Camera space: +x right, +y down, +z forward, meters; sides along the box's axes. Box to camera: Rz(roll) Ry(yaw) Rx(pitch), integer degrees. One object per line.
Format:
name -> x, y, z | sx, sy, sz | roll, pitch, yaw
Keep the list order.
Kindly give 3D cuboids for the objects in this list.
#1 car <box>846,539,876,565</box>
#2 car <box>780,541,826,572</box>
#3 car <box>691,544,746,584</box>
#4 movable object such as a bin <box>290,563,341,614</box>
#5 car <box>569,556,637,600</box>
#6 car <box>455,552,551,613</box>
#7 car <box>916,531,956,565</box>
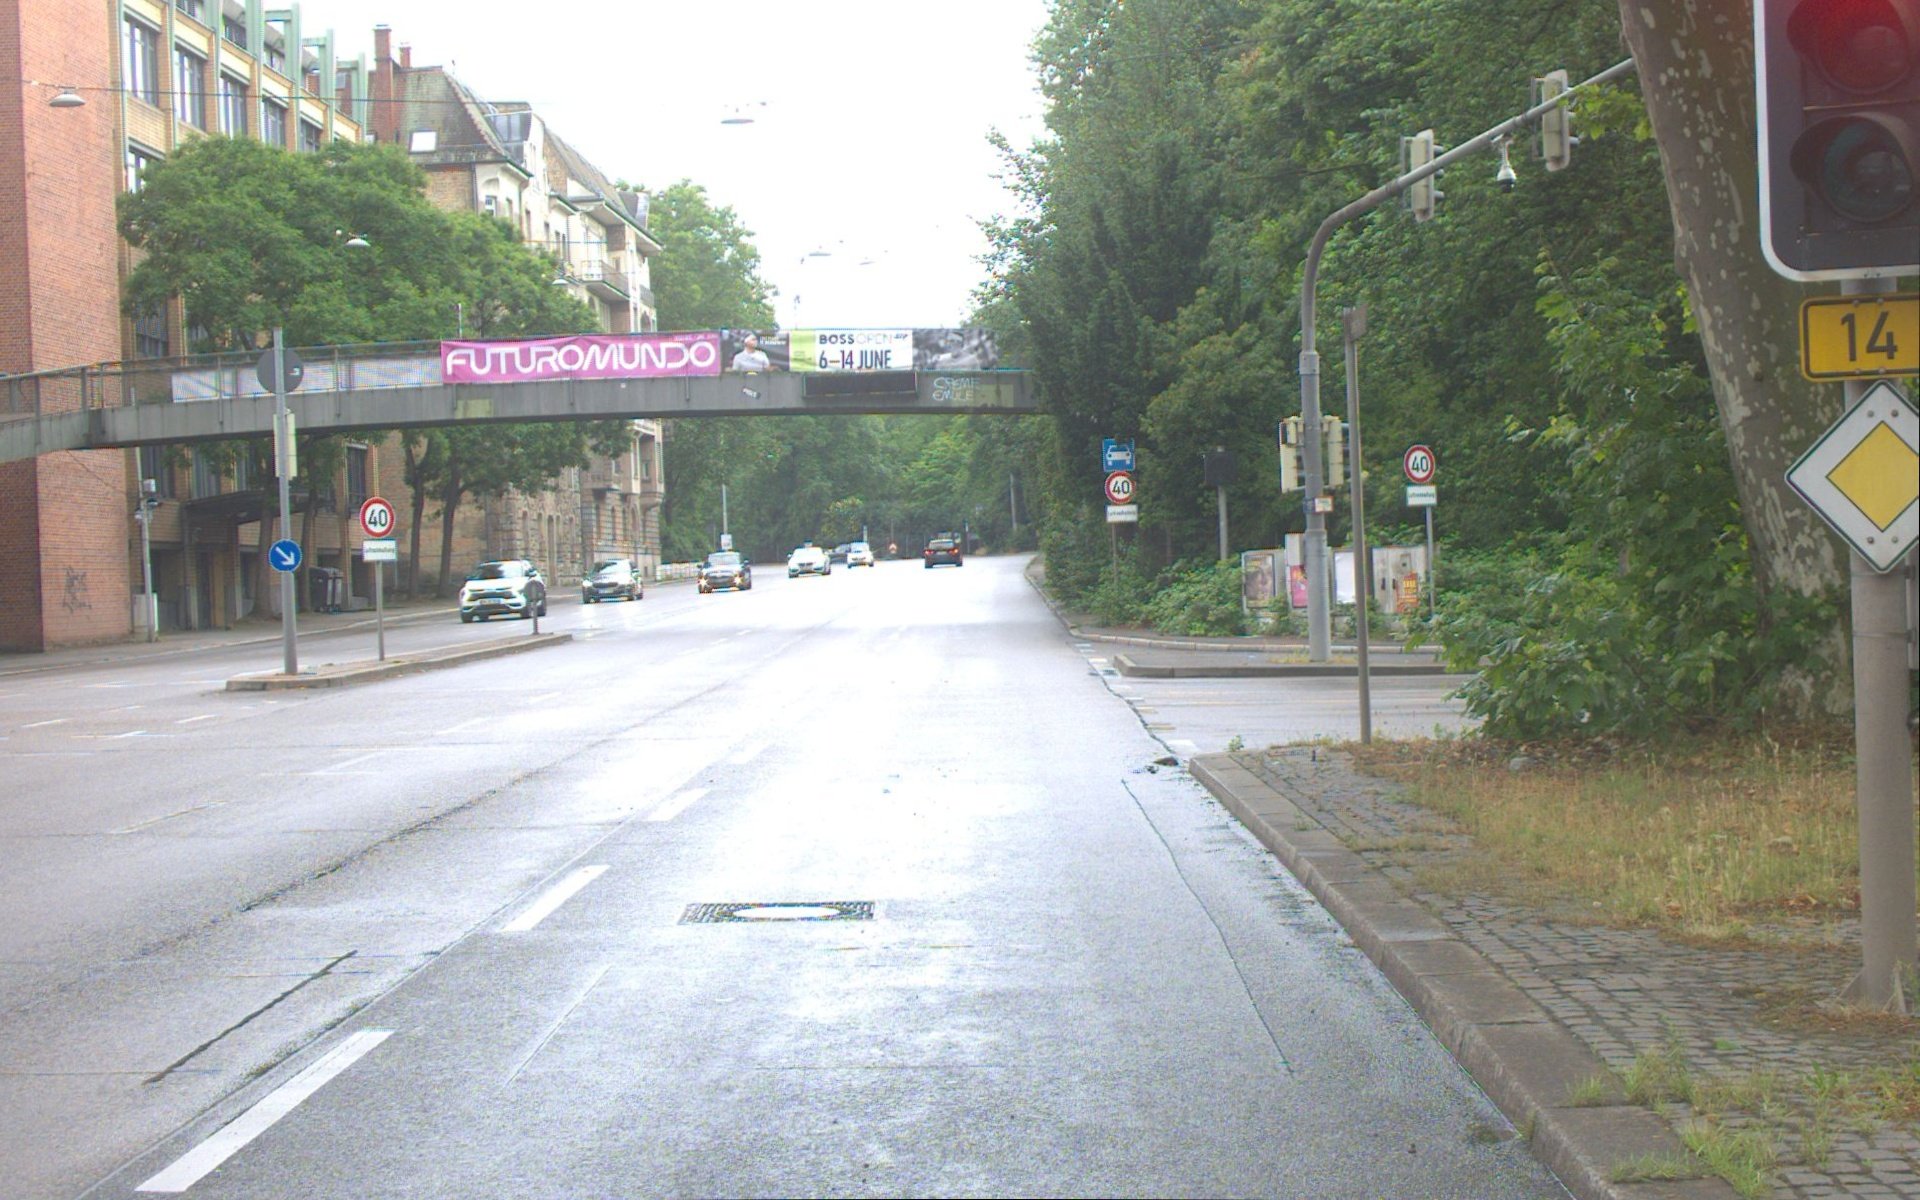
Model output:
car -> -6.030, -2.925, 209.352 | 1.600, 1.494, 3.711 | -3, 0, 1
car -> -7.392, -2.056, 162.592 | 1.830, 1.389, 4.405 | -3, 0, 1
car -> -8.939, -1.333, 127.587 | 1.683, 1.431, 3.862 | -2, 0, 1
movable object such as a bin -> -20.088, -0.362, 107.130 | 1.282, 1.513, 1.273 | -1, 1, 1
car -> -12.257, -0.763, 118.245 | 1.709, 1.459, 4.041 | -2, 0, 3
car -> -12.589, -0.491, 94.902 | 1.890, 1.604, 4.456 | -1, 0, 2
car -> -1.215, -2.636, 174.886 | 2.004, 1.638, 4.376 | -2, 1, 0
